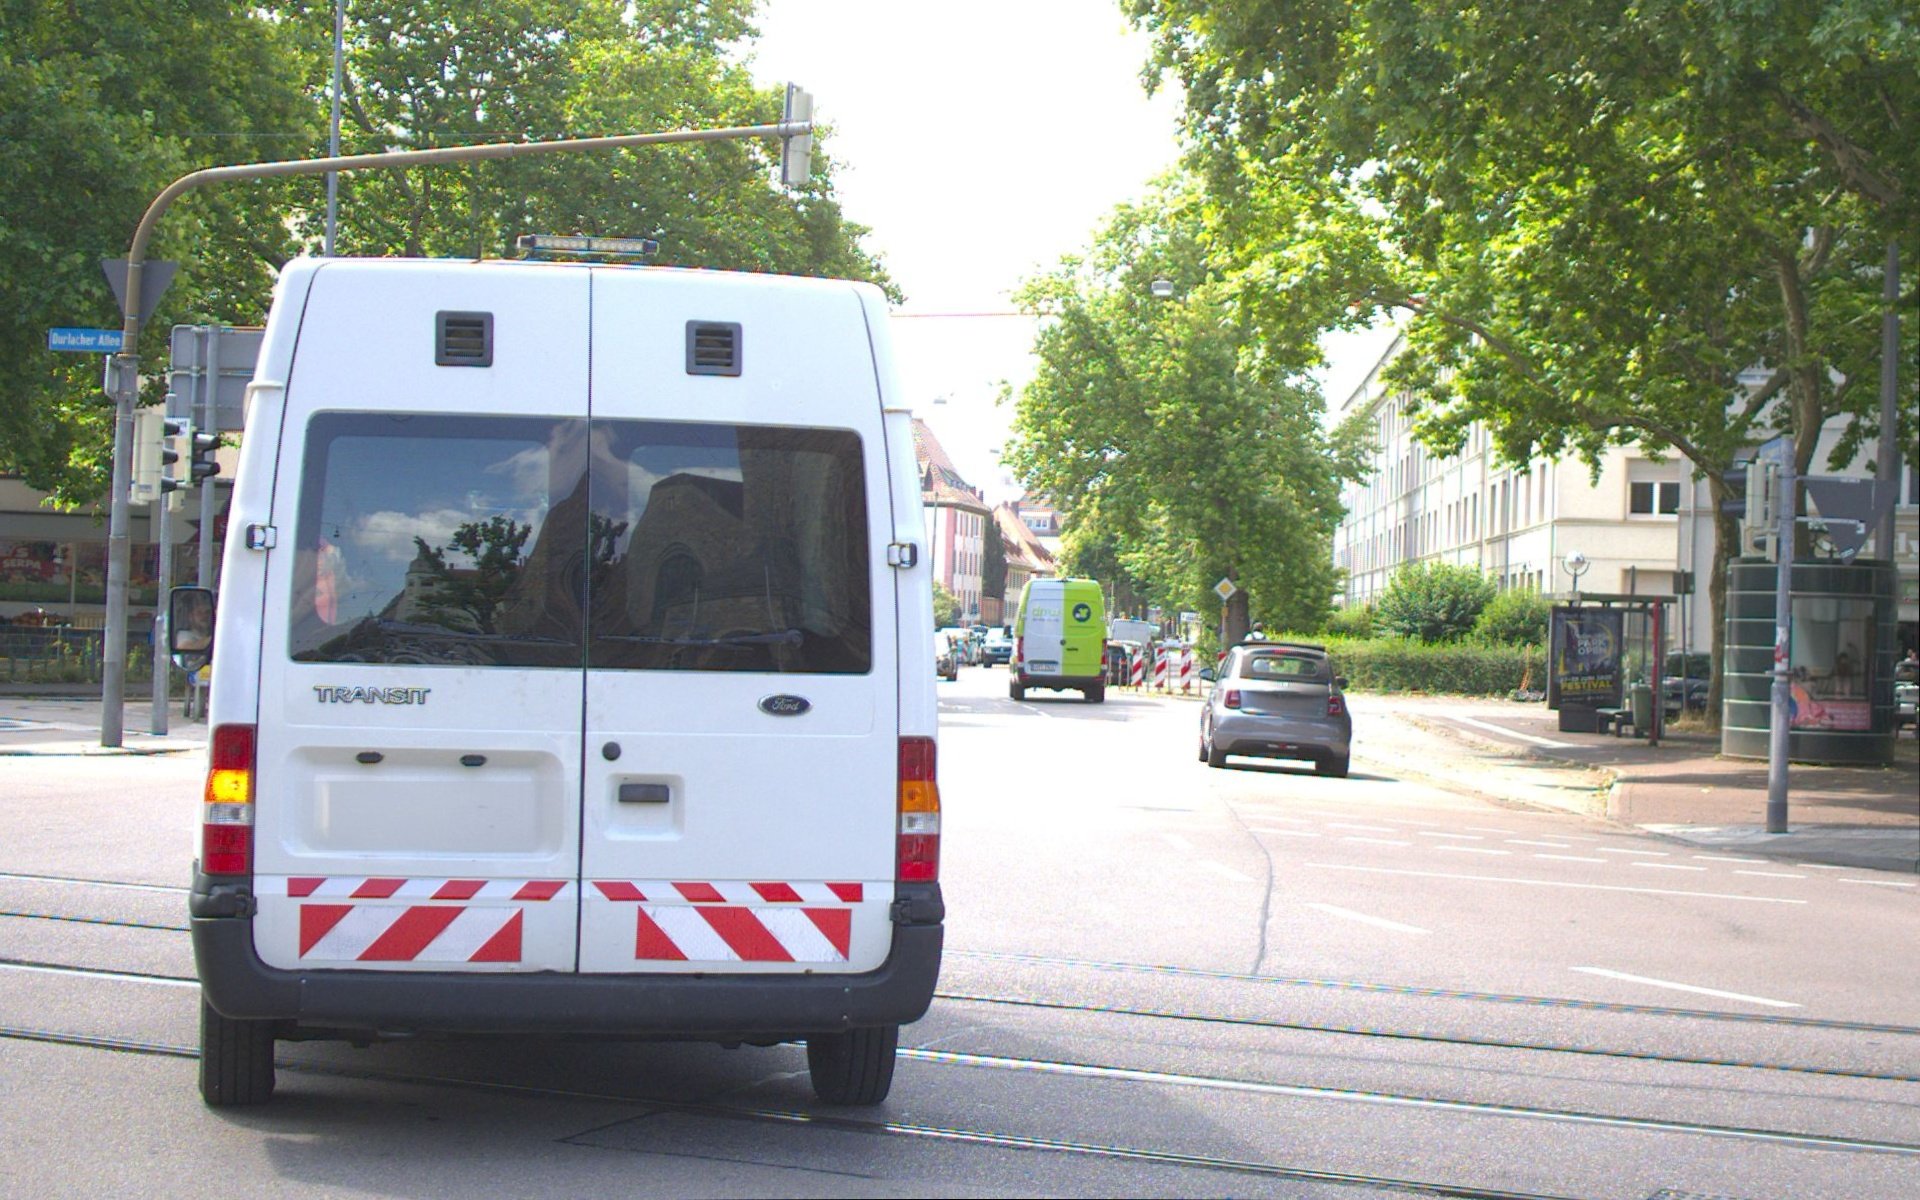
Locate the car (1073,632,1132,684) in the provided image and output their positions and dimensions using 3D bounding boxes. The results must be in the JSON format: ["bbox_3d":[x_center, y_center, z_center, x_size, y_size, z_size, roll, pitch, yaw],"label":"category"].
[{"bbox_3d":[4.484,1.826,108.503,1.725,1.549,3.633,2,-1,1],"label":"car"}]

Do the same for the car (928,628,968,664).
[{"bbox_3d":[-0.573,2.228,167.900,1.660,1.655,3.748,2,0,4],"label":"car"}]

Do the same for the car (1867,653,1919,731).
[{"bbox_3d":[21.216,2.063,76.921,1.467,1.660,3.064,2,-1,20],"label":"car"}]

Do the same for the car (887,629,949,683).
[{"bbox_3d":[-1.366,1.820,113.426,1.786,1.655,4.315,2,0,2],"label":"car"}]

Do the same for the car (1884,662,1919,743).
[{"bbox_3d":[17.412,1.848,61.859,1.466,1.384,3.064,2,-1,15],"label":"car"}]

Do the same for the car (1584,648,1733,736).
[{"bbox_3d":[13.843,1.812,67.950,2.030,1.595,4.533,2,-1,22],"label":"car"}]

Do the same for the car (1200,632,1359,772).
[{"bbox_3d":[3.868,1.207,42.044,1.692,1.532,3.468,2,0,2],"label":"car"}]

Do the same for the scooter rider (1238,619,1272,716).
[{"bbox_3d":[5.575,1.276,64.977,0.526,1.806,0.649,2,0,0],"label":"scooter rider"}]

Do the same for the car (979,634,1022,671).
[{"bbox_3d":[2.009,2.556,168.222,1.862,1.655,3.748,2,0,4],"label":"car"}]

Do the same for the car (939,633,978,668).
[{"bbox_3d":[-0.054,2.563,174.584,1.701,1.655,3.748,2,0,4],"label":"car"}]

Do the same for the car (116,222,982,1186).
[{"bbox_3d":[-1.390,0.272,10.838,2.046,2.325,4.715,2,0,-10],"label":"car"}]

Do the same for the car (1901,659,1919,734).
[{"bbox_3d":[18.751,1.857,65.425,1.466,1.384,3.233,2,-1,17],"label":"car"}]

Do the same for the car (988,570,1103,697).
[{"bbox_3d":[1.849,0.707,76.433,2.119,2.632,6.328,2,0,-2],"label":"car"}]

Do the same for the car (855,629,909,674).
[{"bbox_3d":[-3.012,1.983,133.869,1.729,1.655,3.748,2,0,4],"label":"car"}]
